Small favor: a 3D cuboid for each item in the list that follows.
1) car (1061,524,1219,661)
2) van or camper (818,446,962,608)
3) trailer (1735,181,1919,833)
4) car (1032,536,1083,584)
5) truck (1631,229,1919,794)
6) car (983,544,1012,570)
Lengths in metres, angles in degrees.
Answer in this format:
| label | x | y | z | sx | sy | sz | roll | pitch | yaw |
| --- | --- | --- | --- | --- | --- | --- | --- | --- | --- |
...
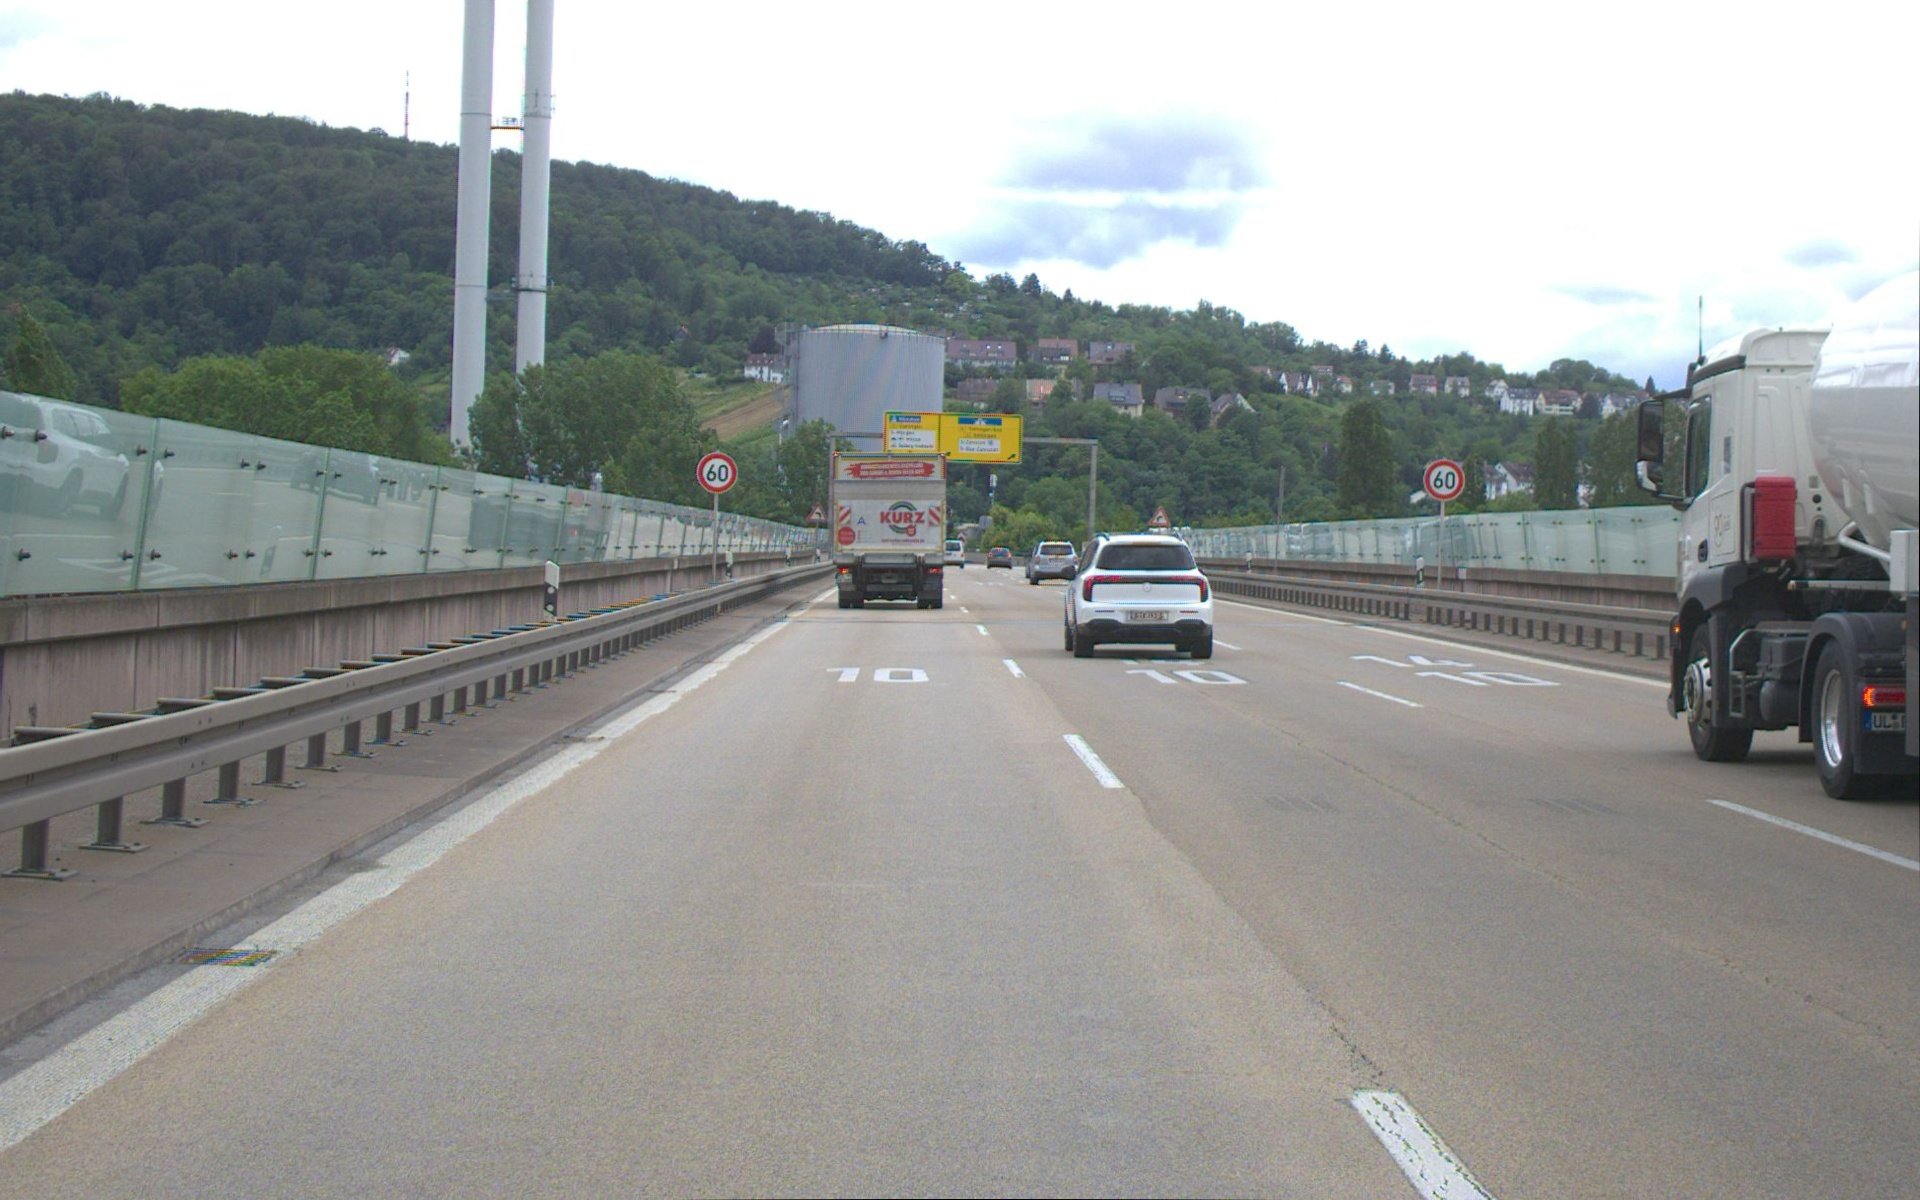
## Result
| label | x | y | z | sx | sy | sz | roll | pitch | yaw |
| --- | --- | --- | --- | --- | --- | --- | --- | --- | --- |
| car | 2.440 | -0.139 | 47.441 | 1.924 | 1.779 | 4.113 | 1 | 1 | 0 |
| van or camper | -1.557 | -1.672 | 81.018 | 3.122 | 3.567 | 8.550 | 1 | 1 | 0 |
| trailer | 6.534 | -0.474 | 17.162 | 2.650 | 3.531 | 11.221 | 1 | 1 | 0 |
| car | 3.772 | -1.549 | 132.562 | 1.924 | 1.779 | 4.113 | 1 | 1 | 2 |
| truck | 6.488 | -0.573 | 23.817 | 2.631 | 3.502 | 4.904 | 1 | 1 | 0 |
| car | 2.639 | -3.016 | 240.564 | 1.924 | 1.779 | 4.113 | 1 | 1 | 0 |
